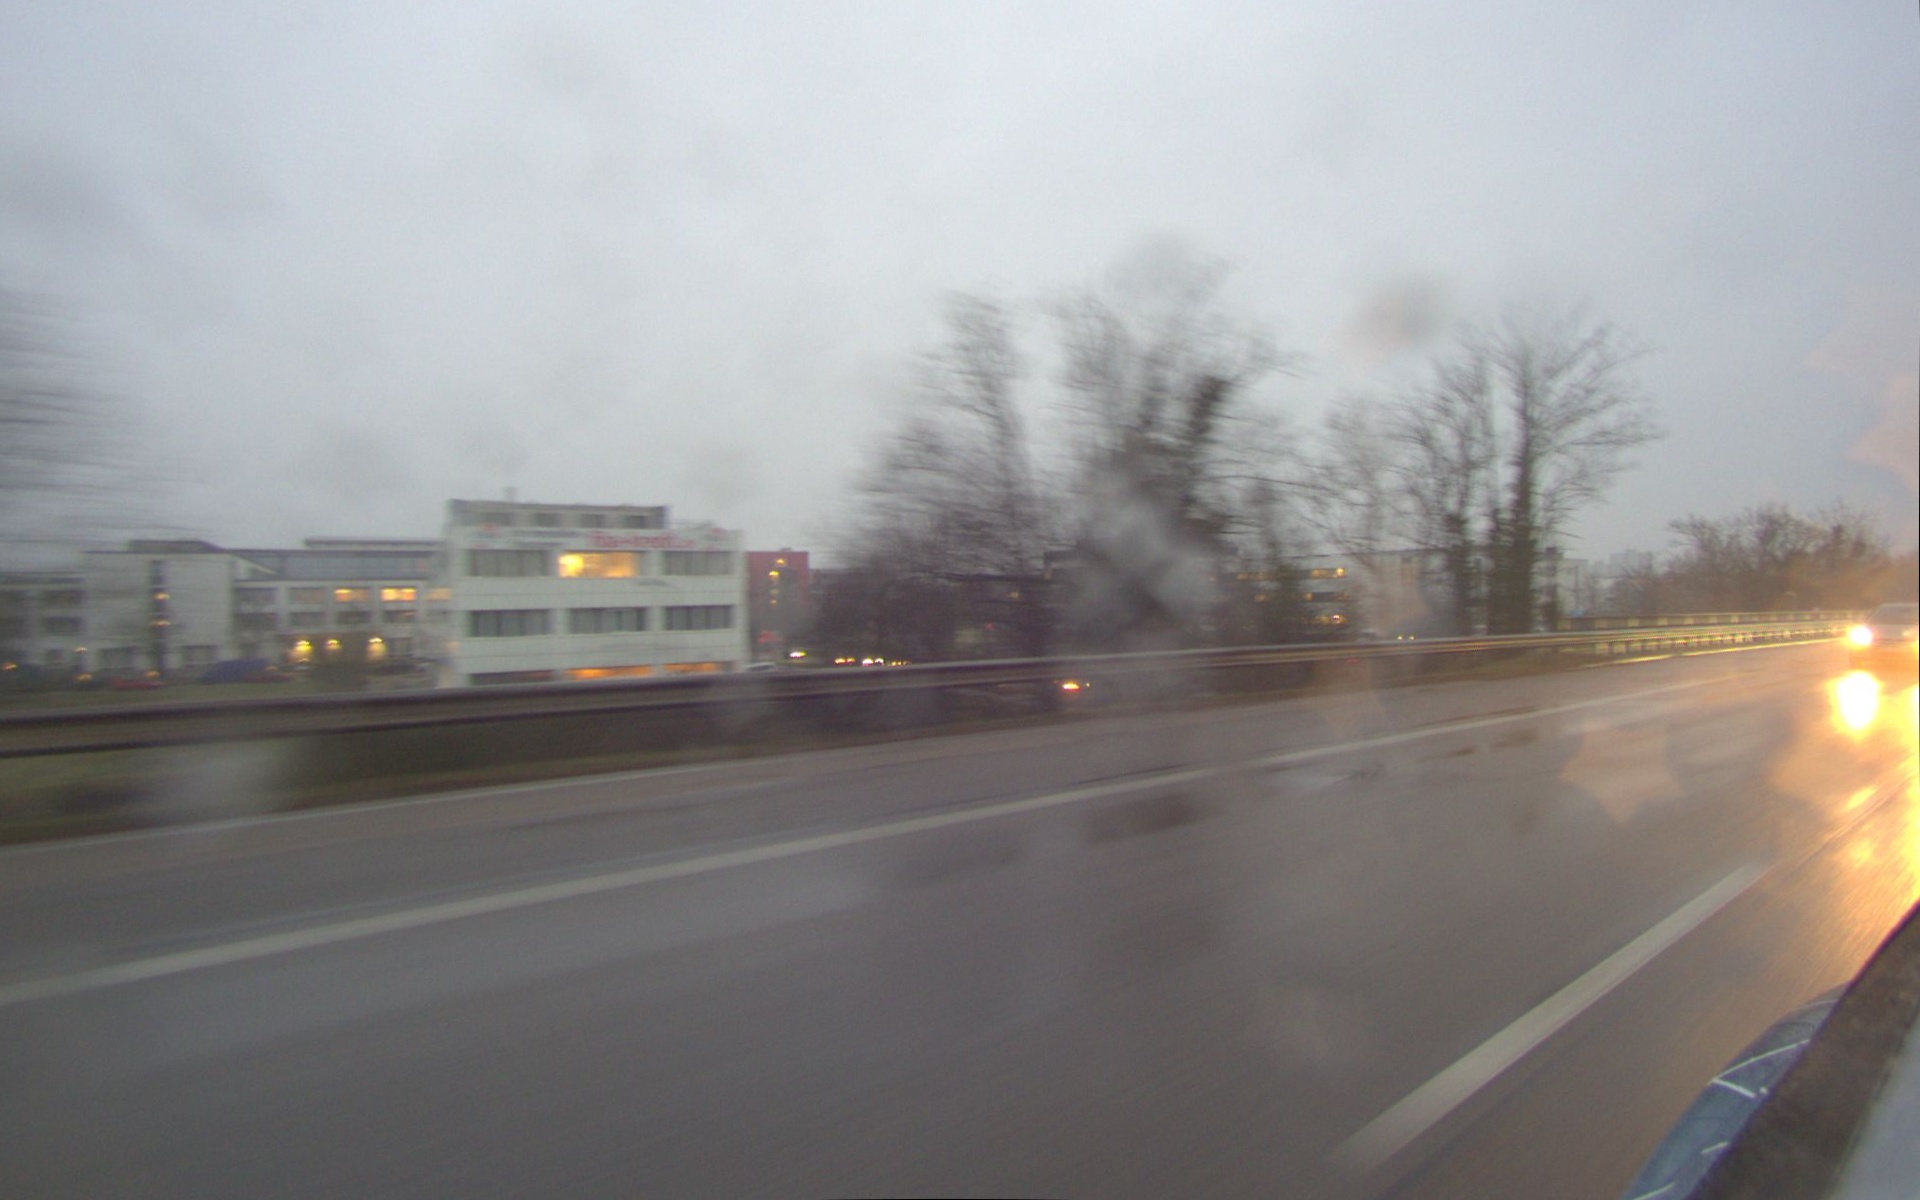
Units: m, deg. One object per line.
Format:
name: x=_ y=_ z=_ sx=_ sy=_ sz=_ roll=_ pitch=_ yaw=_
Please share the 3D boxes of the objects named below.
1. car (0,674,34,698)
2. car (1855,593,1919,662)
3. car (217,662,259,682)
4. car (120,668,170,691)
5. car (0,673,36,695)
car: x=-91.723 y=8.324 z=97.203 sx=3.926 sy=2.039 sz=1.999 roll=0 pitch=0 yaw=-37
car: x=22.833 y=0.601 z=23.996 sx=4.075 sy=1.549 sz=1.849 roll=0 pitch=0 yaw=-40
car: x=-82.893 y=8.244 z=116.161 sx=3.926 sy=2.039 sz=1.999 roll=0 pitch=0 yaw=-37
car: x=-84.709 y=8.281 z=105.208 sx=3.926 sy=2.039 sz=1.999 roll=0 pitch=0 yaw=-37
car: x=-99.576 y=8.831 z=105.993 sx=3.926 sy=2.039 sz=1.999 roll=0 pitch=0 yaw=-37
